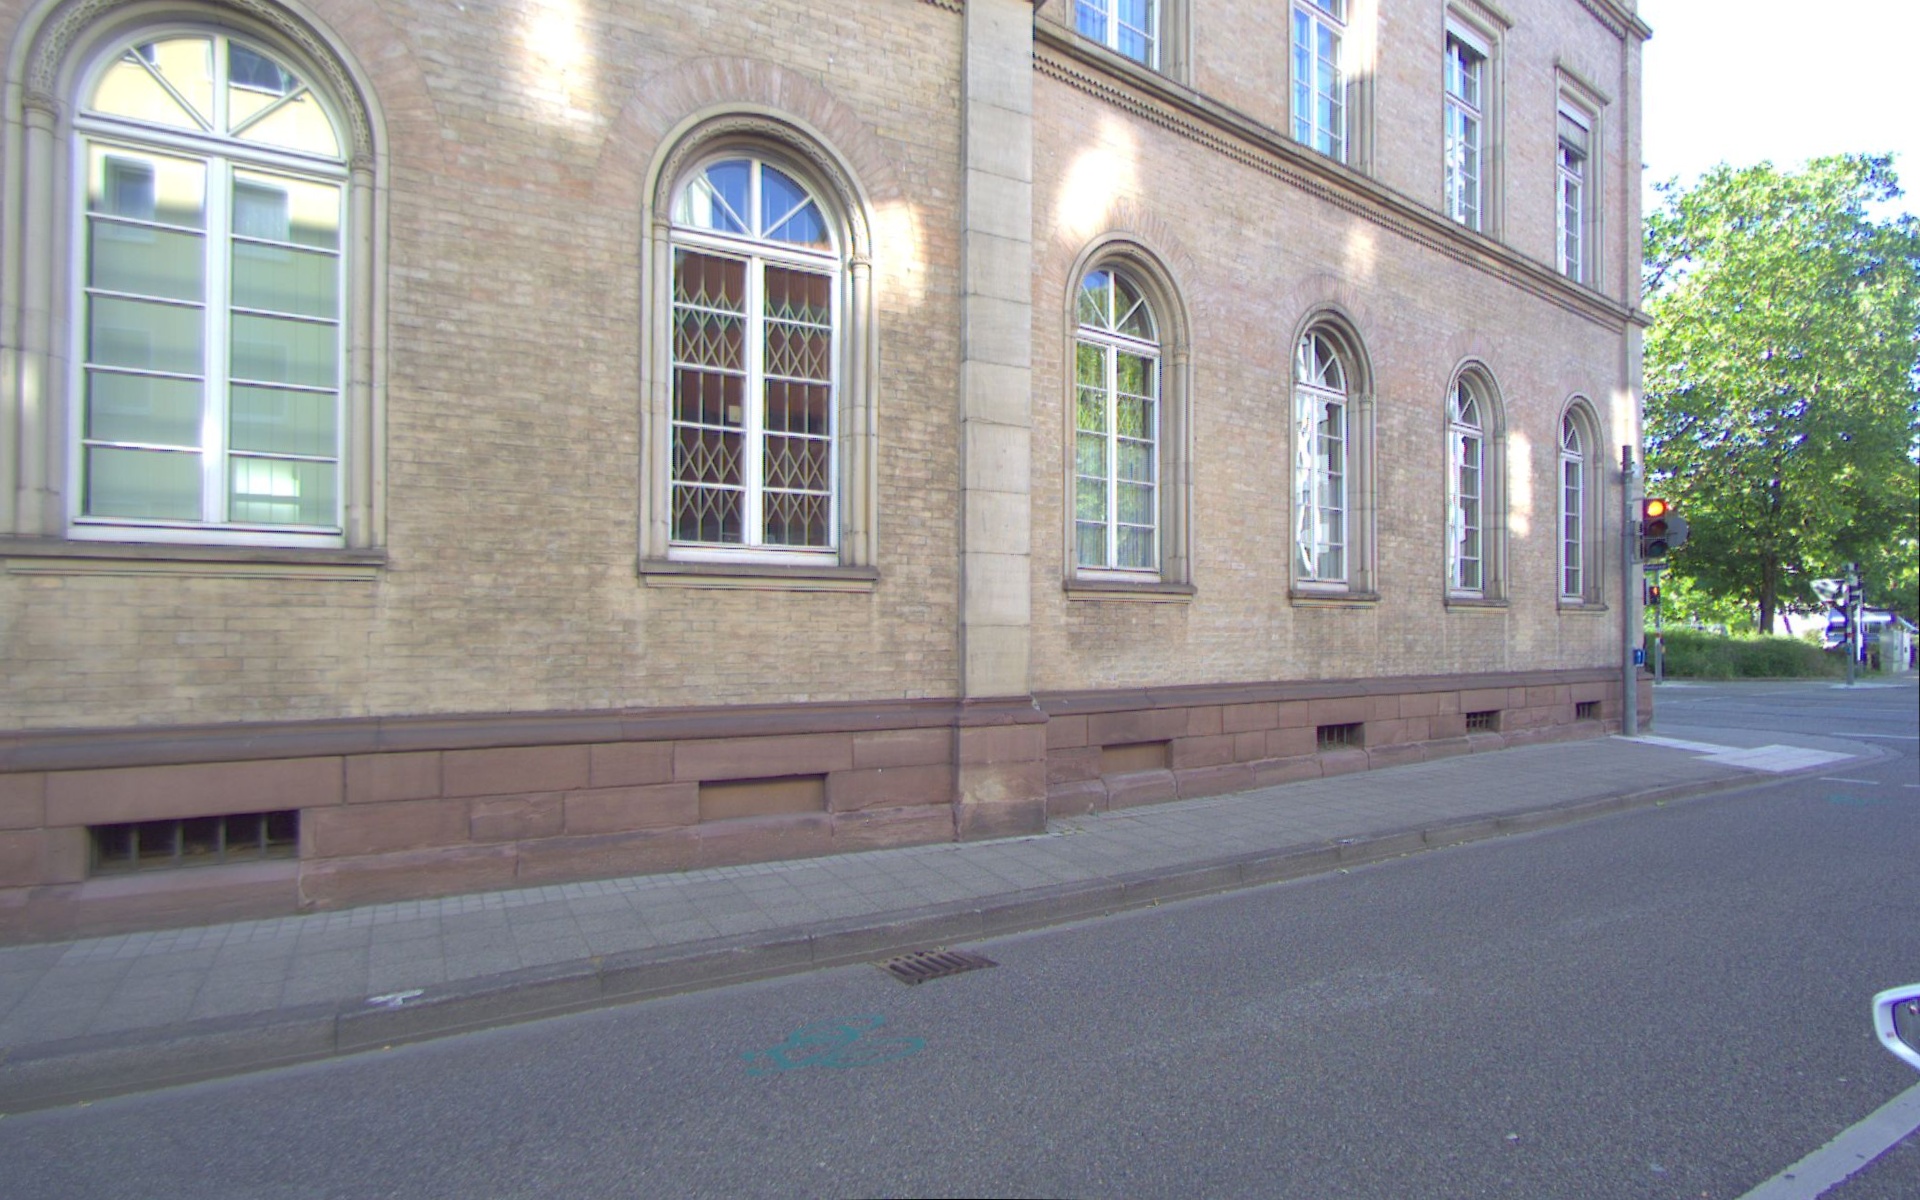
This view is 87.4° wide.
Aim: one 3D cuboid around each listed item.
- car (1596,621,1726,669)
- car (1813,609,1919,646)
[{"bbox_3d":[24.381,1.527,35.024,1.636,1.476,3.382,2,0,-39],"label":"car"},{"bbox_3d":[53.501,1.603,59.387,1.983,2.040,4.409,2,0,-38],"label":"car"}]
